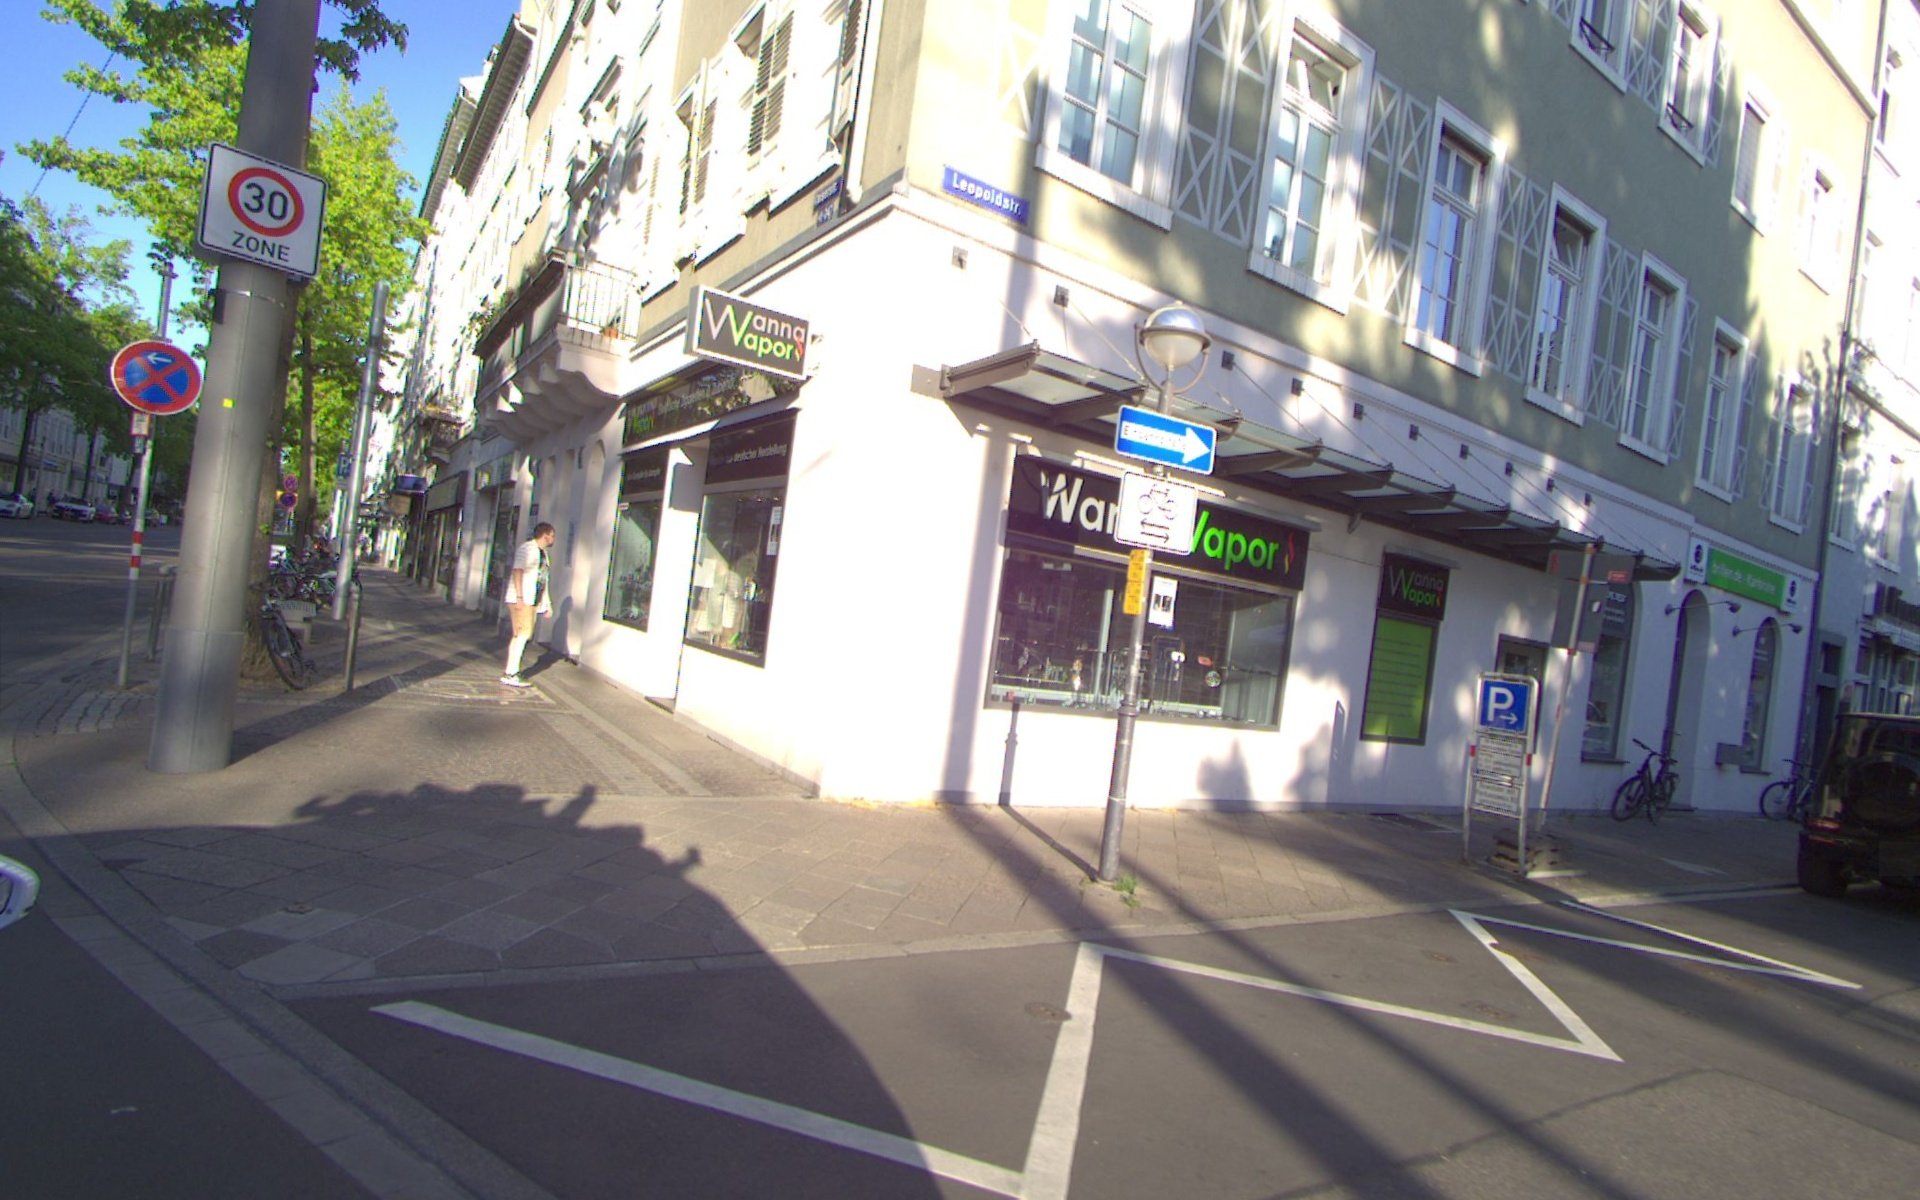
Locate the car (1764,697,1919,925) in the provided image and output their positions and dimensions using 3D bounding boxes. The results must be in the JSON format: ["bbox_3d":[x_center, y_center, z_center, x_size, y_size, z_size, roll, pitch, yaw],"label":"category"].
[{"bbox_3d":[10.773,2.319,10.788,4.471,1.986,2.005,9,-2,-34],"label":"car"}]

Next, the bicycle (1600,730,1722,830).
[{"bbox_3d":[10.168,2.620,14.565,1.969,1.260,0.681,8,-1,-34],"label":"bicycle"}]

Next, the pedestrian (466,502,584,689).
[{"bbox_3d":[-5.124,-0.039,11.920,0.832,2.037,0.843,7,-1,-7],"label":"pedestrian"}]

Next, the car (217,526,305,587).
[{"bbox_3d":[-19.931,-1.232,28.826,1.762,1.458,4.386,5,0,-32],"label":"car"}]

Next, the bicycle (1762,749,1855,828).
[{"bbox_3d":[15.469,3.446,18.321,1.969,1.260,0.681,8,-1,-34],"label":"bicycle"}]

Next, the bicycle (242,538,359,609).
[{"bbox_3d":[-13.395,-0.529,20.507,1.854,1.168,0.558,9,-2,-32],"label":"bicycle"}]

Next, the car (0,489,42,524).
[{"bbox_3d":[-53.888,-5.355,56.793,1.934,1.658,4.869,9,-2,-31],"label":"car"}]

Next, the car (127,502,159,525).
[{"bbox_3d":[-80.332,-8.476,98.976,1.538,1.817,3.149,8,-1,-24],"label":"car"}]

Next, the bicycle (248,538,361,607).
[{"bbox_3d":[-13.731,-0.563,21.130,1.854,1.168,0.558,9,-2,-32],"label":"bicycle"}]

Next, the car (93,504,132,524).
[{"bbox_3d":[-73.295,-7.411,87.077,1.981,1.307,3.965,9,-2,-33],"label":"car"}]

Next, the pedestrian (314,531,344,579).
[{"bbox_3d":[-23.231,-1.658,37.044,0.797,1.663,0.749,6,0,-33],"label":"pedestrian"}]

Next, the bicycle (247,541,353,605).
[{"bbox_3d":[-14.825,-0.590,22.655,1.854,1.168,0.558,9,-2,-32],"label":"bicycle"}]

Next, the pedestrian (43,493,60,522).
[{"bbox_3d":[-66.518,-6.765,73.654,0.704,2.028,0.668,7,0,-40],"label":"pedestrian"}]

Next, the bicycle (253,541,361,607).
[{"bbox_3d":[-14.389,-0.560,22.225,1.854,1.168,0.558,9,-2,-32],"label":"bicycle"}]

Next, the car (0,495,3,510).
[{"bbox_3d":[-13.882,-0.853,12.720,1.860,1.484,4.003,11,-3,-36],"label":"car"}]

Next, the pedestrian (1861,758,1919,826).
[{"bbox_3d":[19.436,4.007,20.953,1.017,1.260,0.681,8,-1,-34],"label":"pedestrian"}]

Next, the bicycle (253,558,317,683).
[{"bbox_3d":[-6.621,0.166,9.838,0.352,1.089,1.683,8,-2,-36],"label":"bicycle"}]

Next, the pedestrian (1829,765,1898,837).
[{"bbox_3d":[17.893,3.983,19.922,1.017,1.260,0.681,8,-1,-34],"label":"pedestrian"}]

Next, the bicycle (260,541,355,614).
[{"bbox_3d":[-12.526,-0.430,19.303,1.650,1.168,0.462,7,-1,17],"label":"bicycle"}]

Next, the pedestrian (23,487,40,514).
[{"bbox_3d":[-67.367,-7.225,72.985,0.704,1.828,0.668,7,0,-38],"label":"pedestrian"}]

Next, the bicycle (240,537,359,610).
[{"bbox_3d":[-13.128,-0.509,20.048,1.854,1.168,0.345,9,-1,-32],"label":"bicycle"}]

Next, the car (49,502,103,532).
[{"bbox_3d":[-63.625,-5.957,72.478,1.949,1.711,4.972,9,-2,-32],"label":"car"}]

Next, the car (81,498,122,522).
[{"bbox_3d":[-68.691,-7.170,80.540,1.678,1.516,4.199,9,-2,-32],"label":"car"}]

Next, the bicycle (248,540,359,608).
[{"bbox_3d":[-14.111,-0.546,21.679,1.854,1.168,0.558,9,-2,-32],"label":"bicycle"}]

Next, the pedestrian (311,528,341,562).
[{"bbox_3d":[-28.854,-2.502,45.778,0.733,1.403,0.710,7,0,20],"label":"pedestrian"}]
